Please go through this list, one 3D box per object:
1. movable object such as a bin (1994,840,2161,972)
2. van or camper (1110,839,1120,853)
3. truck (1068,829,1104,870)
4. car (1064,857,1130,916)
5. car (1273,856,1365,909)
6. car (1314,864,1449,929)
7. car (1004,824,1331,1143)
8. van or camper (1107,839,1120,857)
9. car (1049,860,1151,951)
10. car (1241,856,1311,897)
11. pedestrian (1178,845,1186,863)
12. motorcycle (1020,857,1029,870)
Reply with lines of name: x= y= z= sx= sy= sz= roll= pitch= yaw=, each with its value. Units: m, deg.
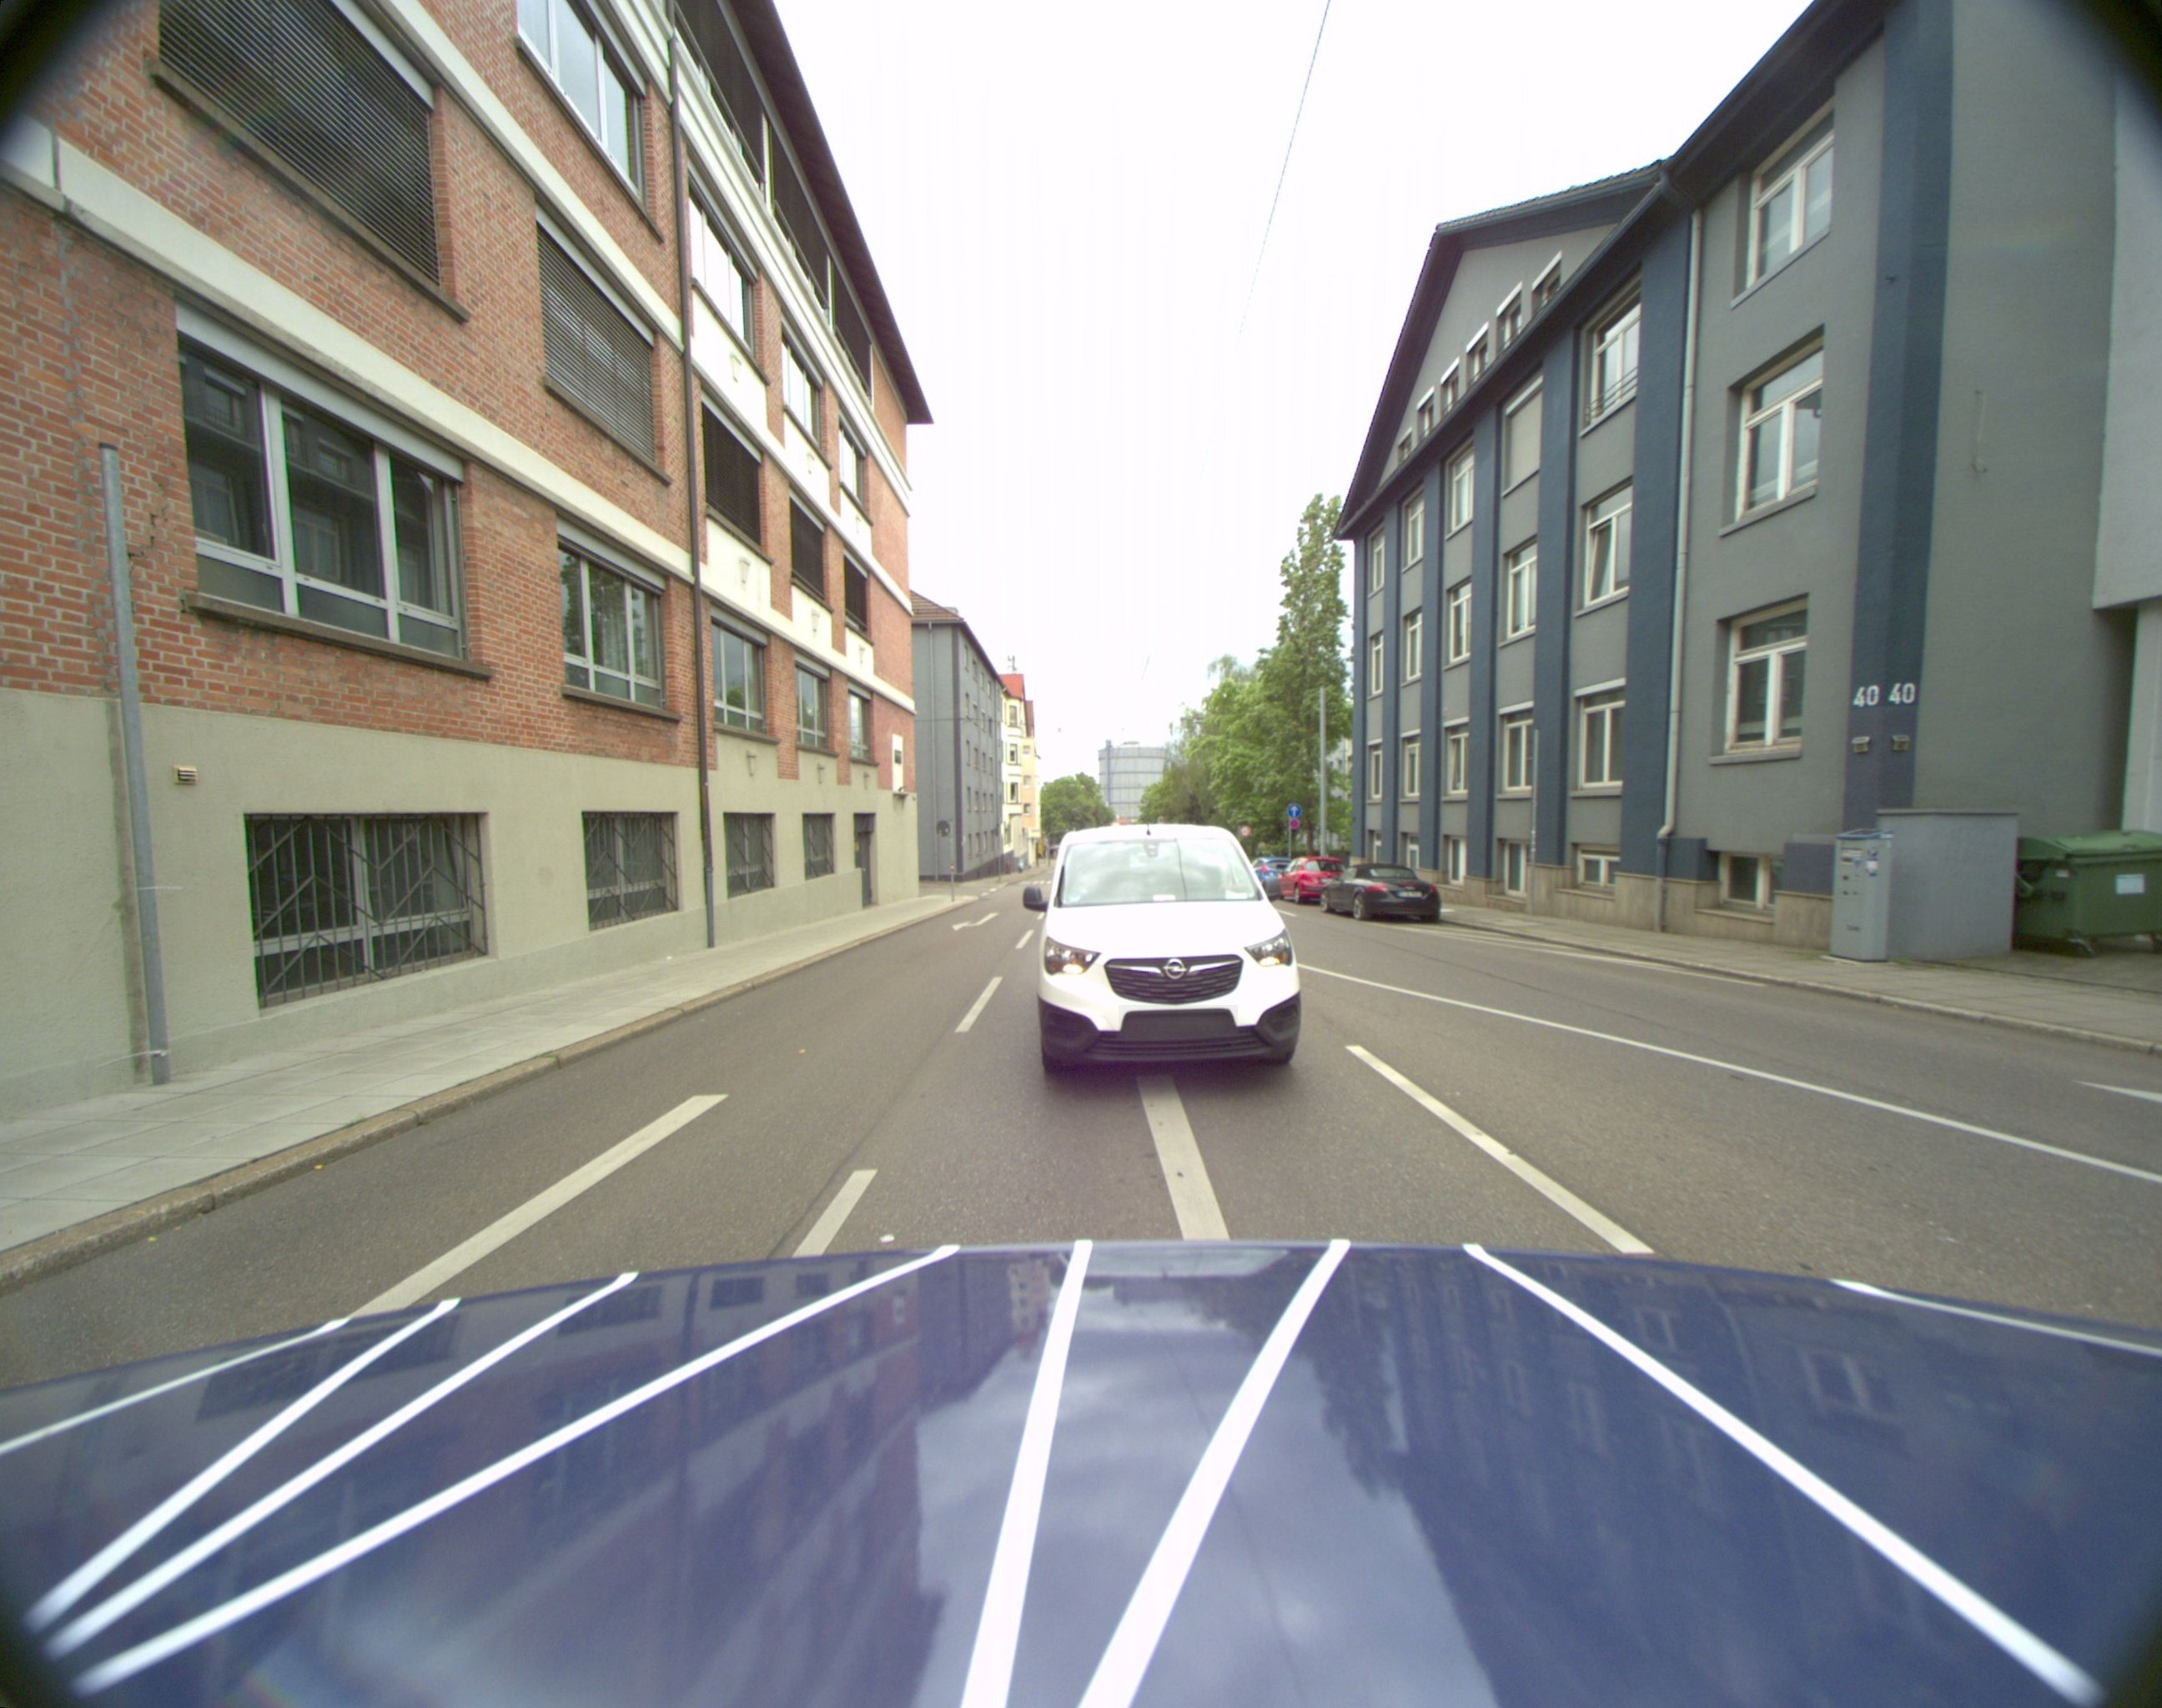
movable object such as a bin: x=12.092 y=0.597 z=9.112 sx=1.267 sy=1.448 sz=0.784 roll=-3 pitch=2 yaw=4
van or camper: x=6.701 y=-1.518 z=149.780 sx=1.914 sy=2.754 sz=5.925 roll=1 pitch=0 yaw=2
truck: x=0.523 y=-0.421 z=69.597 sx=2.980 sy=3.394 sz=9.358 roll=-2 pitch=0 yaw=1
car: x=0.474 y=0.864 z=21.675 sx=1.724 sy=1.486 sz=3.727 roll=1 pitch=0 yaw=2
car: x=7.501 y=0.843 z=24.313 sx=1.819 sy=1.465 sz=3.869 roll=2 pitch=0 yaw=2
car: x=7.179 y=0.949 z=18.603 sx=1.724 sy=1.319 sz=4.041 roll=2 pitch=0 yaw=1
car: x=0.550 y=0.751 z=6.912 sx=1.840 sy=1.797 sz=4.939 roll=-2 pitch=0 yaw=1
van or camper: x=5.163 y=-0.991 z=119.930 sx=1.914 sy=2.754 sz=5.925 roll=1 pitch=0 yaw=2
car: x=0.378 y=0.882 z=14.764 sx=1.724 sy=1.486 sz=3.727 roll=1 pitch=0 yaw=2
car: x=7.549 y=0.836 z=29.770 sx=1.724 sy=1.445 sz=3.727 roll=1 pitch=0 yaw=0
pedestrian: x=10.698 y=-0.031 z=80.510 sx=0.746 sy=1.839 sz=0.776 roll=-1 pitch=1 yaw=2
motorcycle: x=-5.078 y=0.838 z=68.513 sx=0.566 sy=1.105 sz=1.653 roll=4 pitch=0 yaw=2
